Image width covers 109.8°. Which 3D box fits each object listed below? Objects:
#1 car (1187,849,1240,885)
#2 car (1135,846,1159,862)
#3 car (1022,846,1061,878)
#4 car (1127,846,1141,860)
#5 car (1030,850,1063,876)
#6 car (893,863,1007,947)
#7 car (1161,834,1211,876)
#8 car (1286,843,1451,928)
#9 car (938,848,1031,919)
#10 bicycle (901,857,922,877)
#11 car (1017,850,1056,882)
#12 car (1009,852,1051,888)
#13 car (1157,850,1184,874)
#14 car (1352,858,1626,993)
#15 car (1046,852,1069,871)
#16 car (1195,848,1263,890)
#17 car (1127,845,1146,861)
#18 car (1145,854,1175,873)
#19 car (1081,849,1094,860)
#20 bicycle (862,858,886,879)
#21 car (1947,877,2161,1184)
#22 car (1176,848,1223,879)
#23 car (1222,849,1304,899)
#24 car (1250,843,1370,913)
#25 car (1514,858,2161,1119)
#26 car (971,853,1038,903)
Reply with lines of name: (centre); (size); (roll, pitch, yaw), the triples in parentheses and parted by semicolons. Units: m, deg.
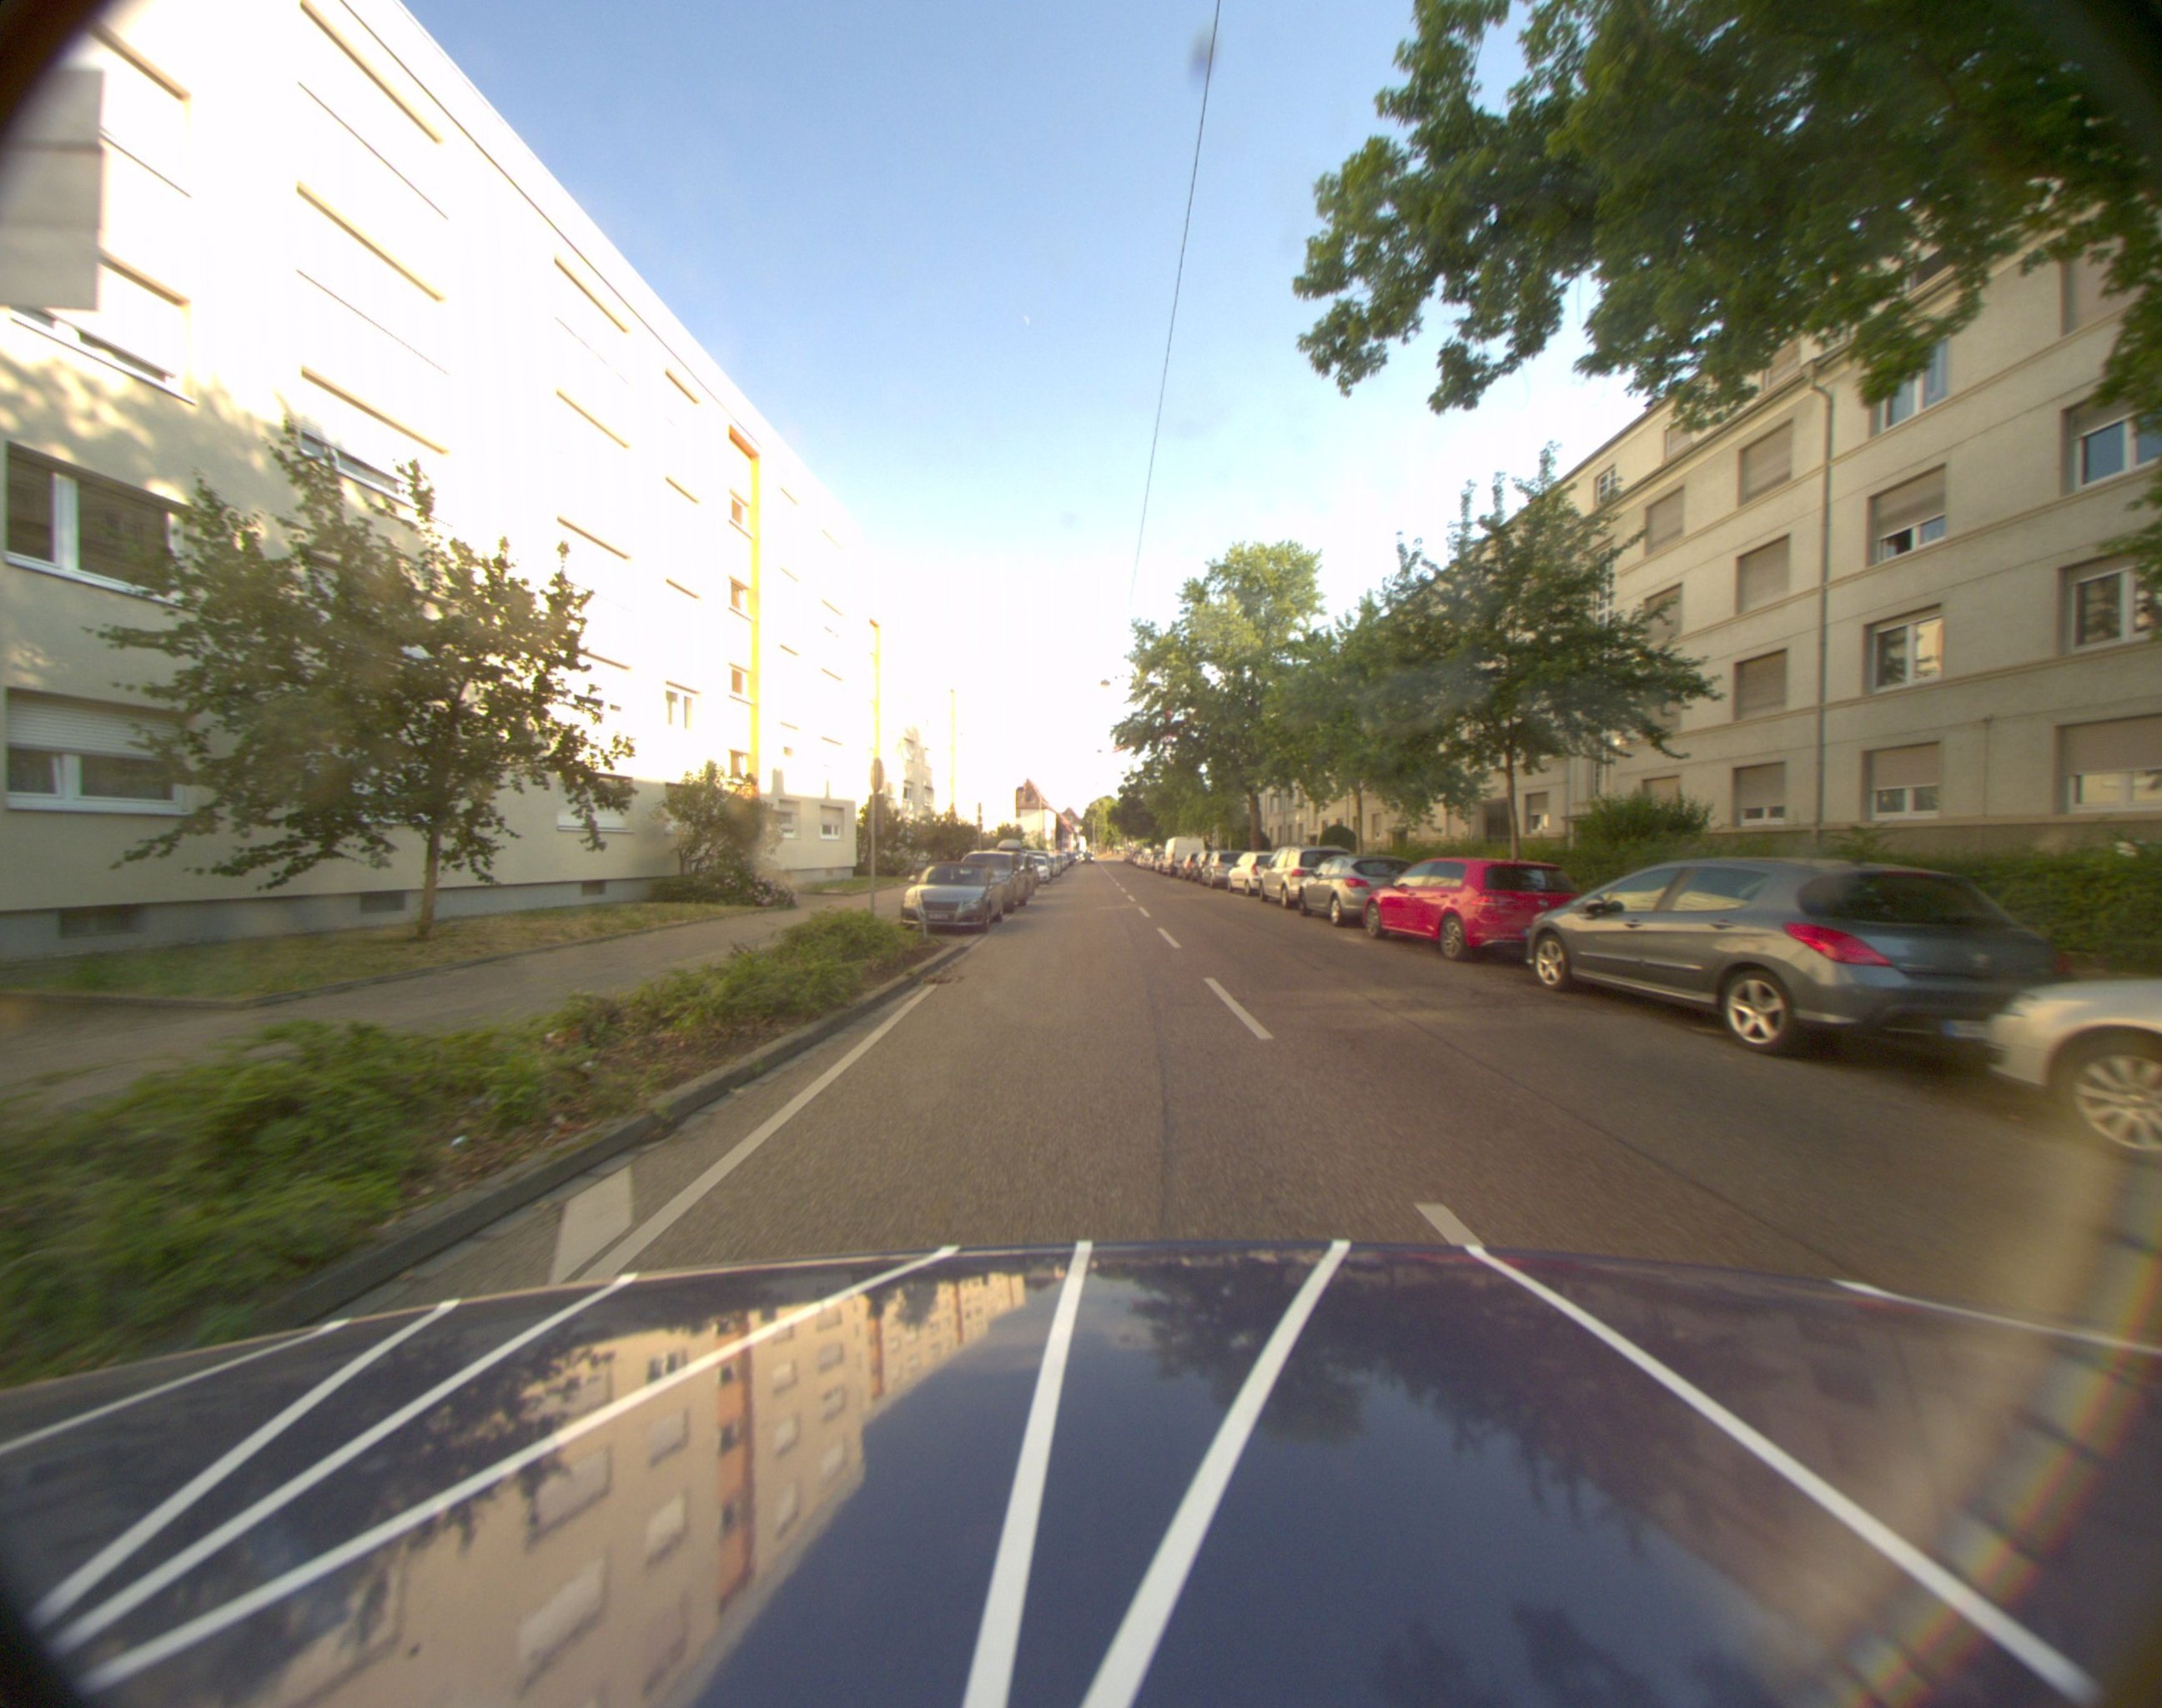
car: (6.630, 0.609, 38.383); (1.875, 1.549, 4.364); (2, 1, 1)
car: (6.981, -0.025, 80.982); (2.009, 1.543, 4.470); (-2, 1, -1)
car: (-2.349, 0.517, 46.021); (2.029, 1.739, 4.768); (-2, -2, 0)
car: (7.887, -0.131, 113.164); (1.846, 1.885, 4.486); (-5, 1, 2)
car: (-2.254, 0.566, 50.672); (1.841, 1.493, 4.171); (3, 2, 2)
car: (-2.692, 0.999, 16.468); (1.745, 1.465, 3.999); (0, 1, 1)
car: (6.715, -0.008, 49.382); (2.364, 2.432, 6.163); (3, 1, 1)
car: (5.951, 0.672, 16.393); (1.875, 1.548, 4.499); (-1, -2, 1)
car: (-2.593, 0.717, 21.468); (1.932, 1.649, 4.676); (2, 1, 0)
bicycle: (-9.093, 0.702, 40.833); (0.601, 1.075, 2.393); (0, -1, 1)
car: (-2.349, 0.612, 41.091); (1.683, 1.407, 4.723); (5, 1, 0)
car: (-2.292, 0.687, 35.054); (1.610, 1.486, 4.041); (-1, 1, 0)
car: (6.444, 0.572, 54.971); (1.711, 1.565, 3.820); (3, 1, 4)
car: (5.956, 0.935, 11.754); (1.876, 1.549, 3.998); (3, 1, -3)
car: (-2.035, 0.605, 67.140); (1.878, 1.434, 3.998); (-3, 1, -1)
car: (6.265, 0.588, 32.776); (1.875, 1.549, 5.056); (4, 0, 1)
car: (7.099, -0.147, 97.549); (1.878, 1.749, 4.687); (-5, 1, -2)
car: (6.837, 0.815, 66.113); (1.878, 1.348, 4.652); (-6, 1, -1)
car: (0.896, 0.093, 103.102); (1.775, 1.492, 3.674); (0, 0, 1)
bicycle: (-11.193, 0.782, 41.121); (0.601, 1.075, 2.393); (0, -1, 1)
car: (5.872, 0.866, 2.034); (1.774, 1.345, 4.709); (-2, 1, 1)
car: (6.707, 0.511, 43.359); (1.962, 1.549, 4.345); (1, 1, 0)
car: (6.435, 0.660, 27.331); (1.875, 1.549, 4.100); (4, 1, 1)
car: (6.248, 0.554, 21.358); (1.921, 1.668, 4.973); (-1, 1, 1)
car: (5.837, 0.838, 6.706); (1.708, 1.431, 4.128); (-2, 1, 1)
car: (-2.670, 0.802, 27.451); (1.902, 1.641, 4.342); (0, 0, 0)
